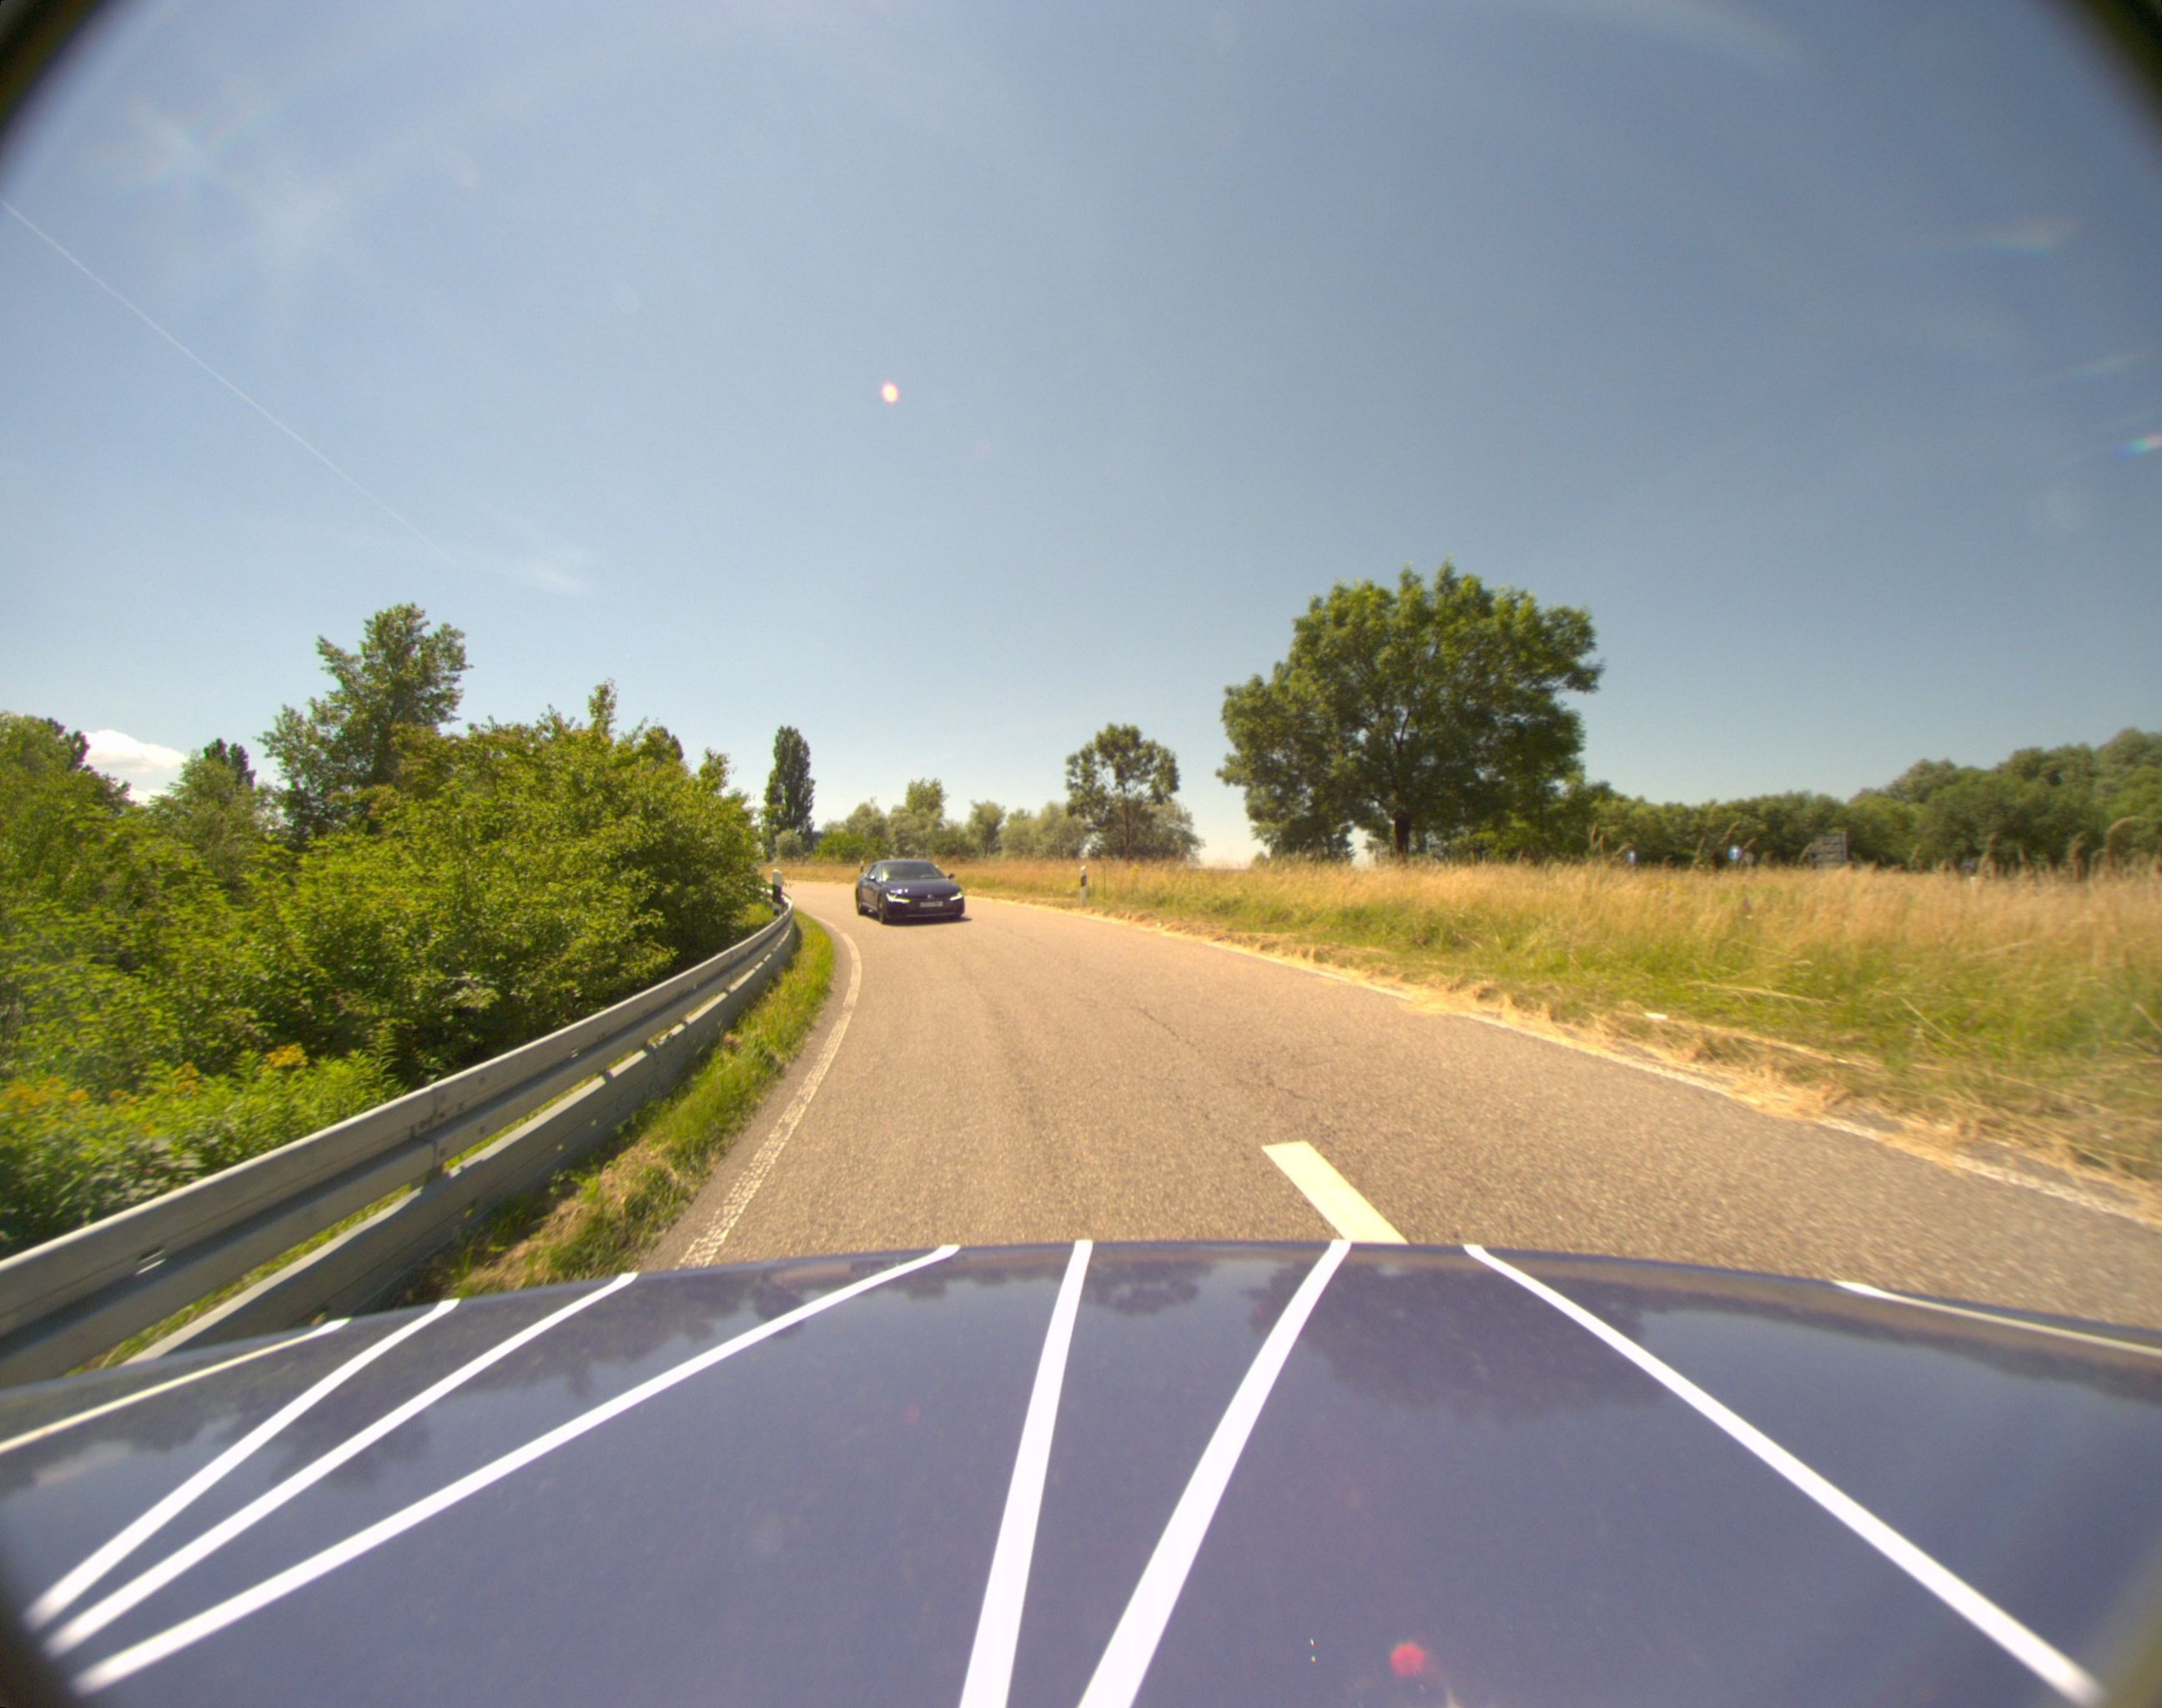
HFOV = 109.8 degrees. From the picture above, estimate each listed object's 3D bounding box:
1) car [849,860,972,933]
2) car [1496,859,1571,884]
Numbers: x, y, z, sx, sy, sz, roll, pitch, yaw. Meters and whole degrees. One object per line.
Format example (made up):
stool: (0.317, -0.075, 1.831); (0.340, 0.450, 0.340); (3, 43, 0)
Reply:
car: (-4.311, 0.932, 18.630); (1.846, 1.422, 4.523); (-3, 2, -27)
car: (30.804, 1.180, 51.843); (3.996, 1.602, 1.832); (0, 1, 4)
